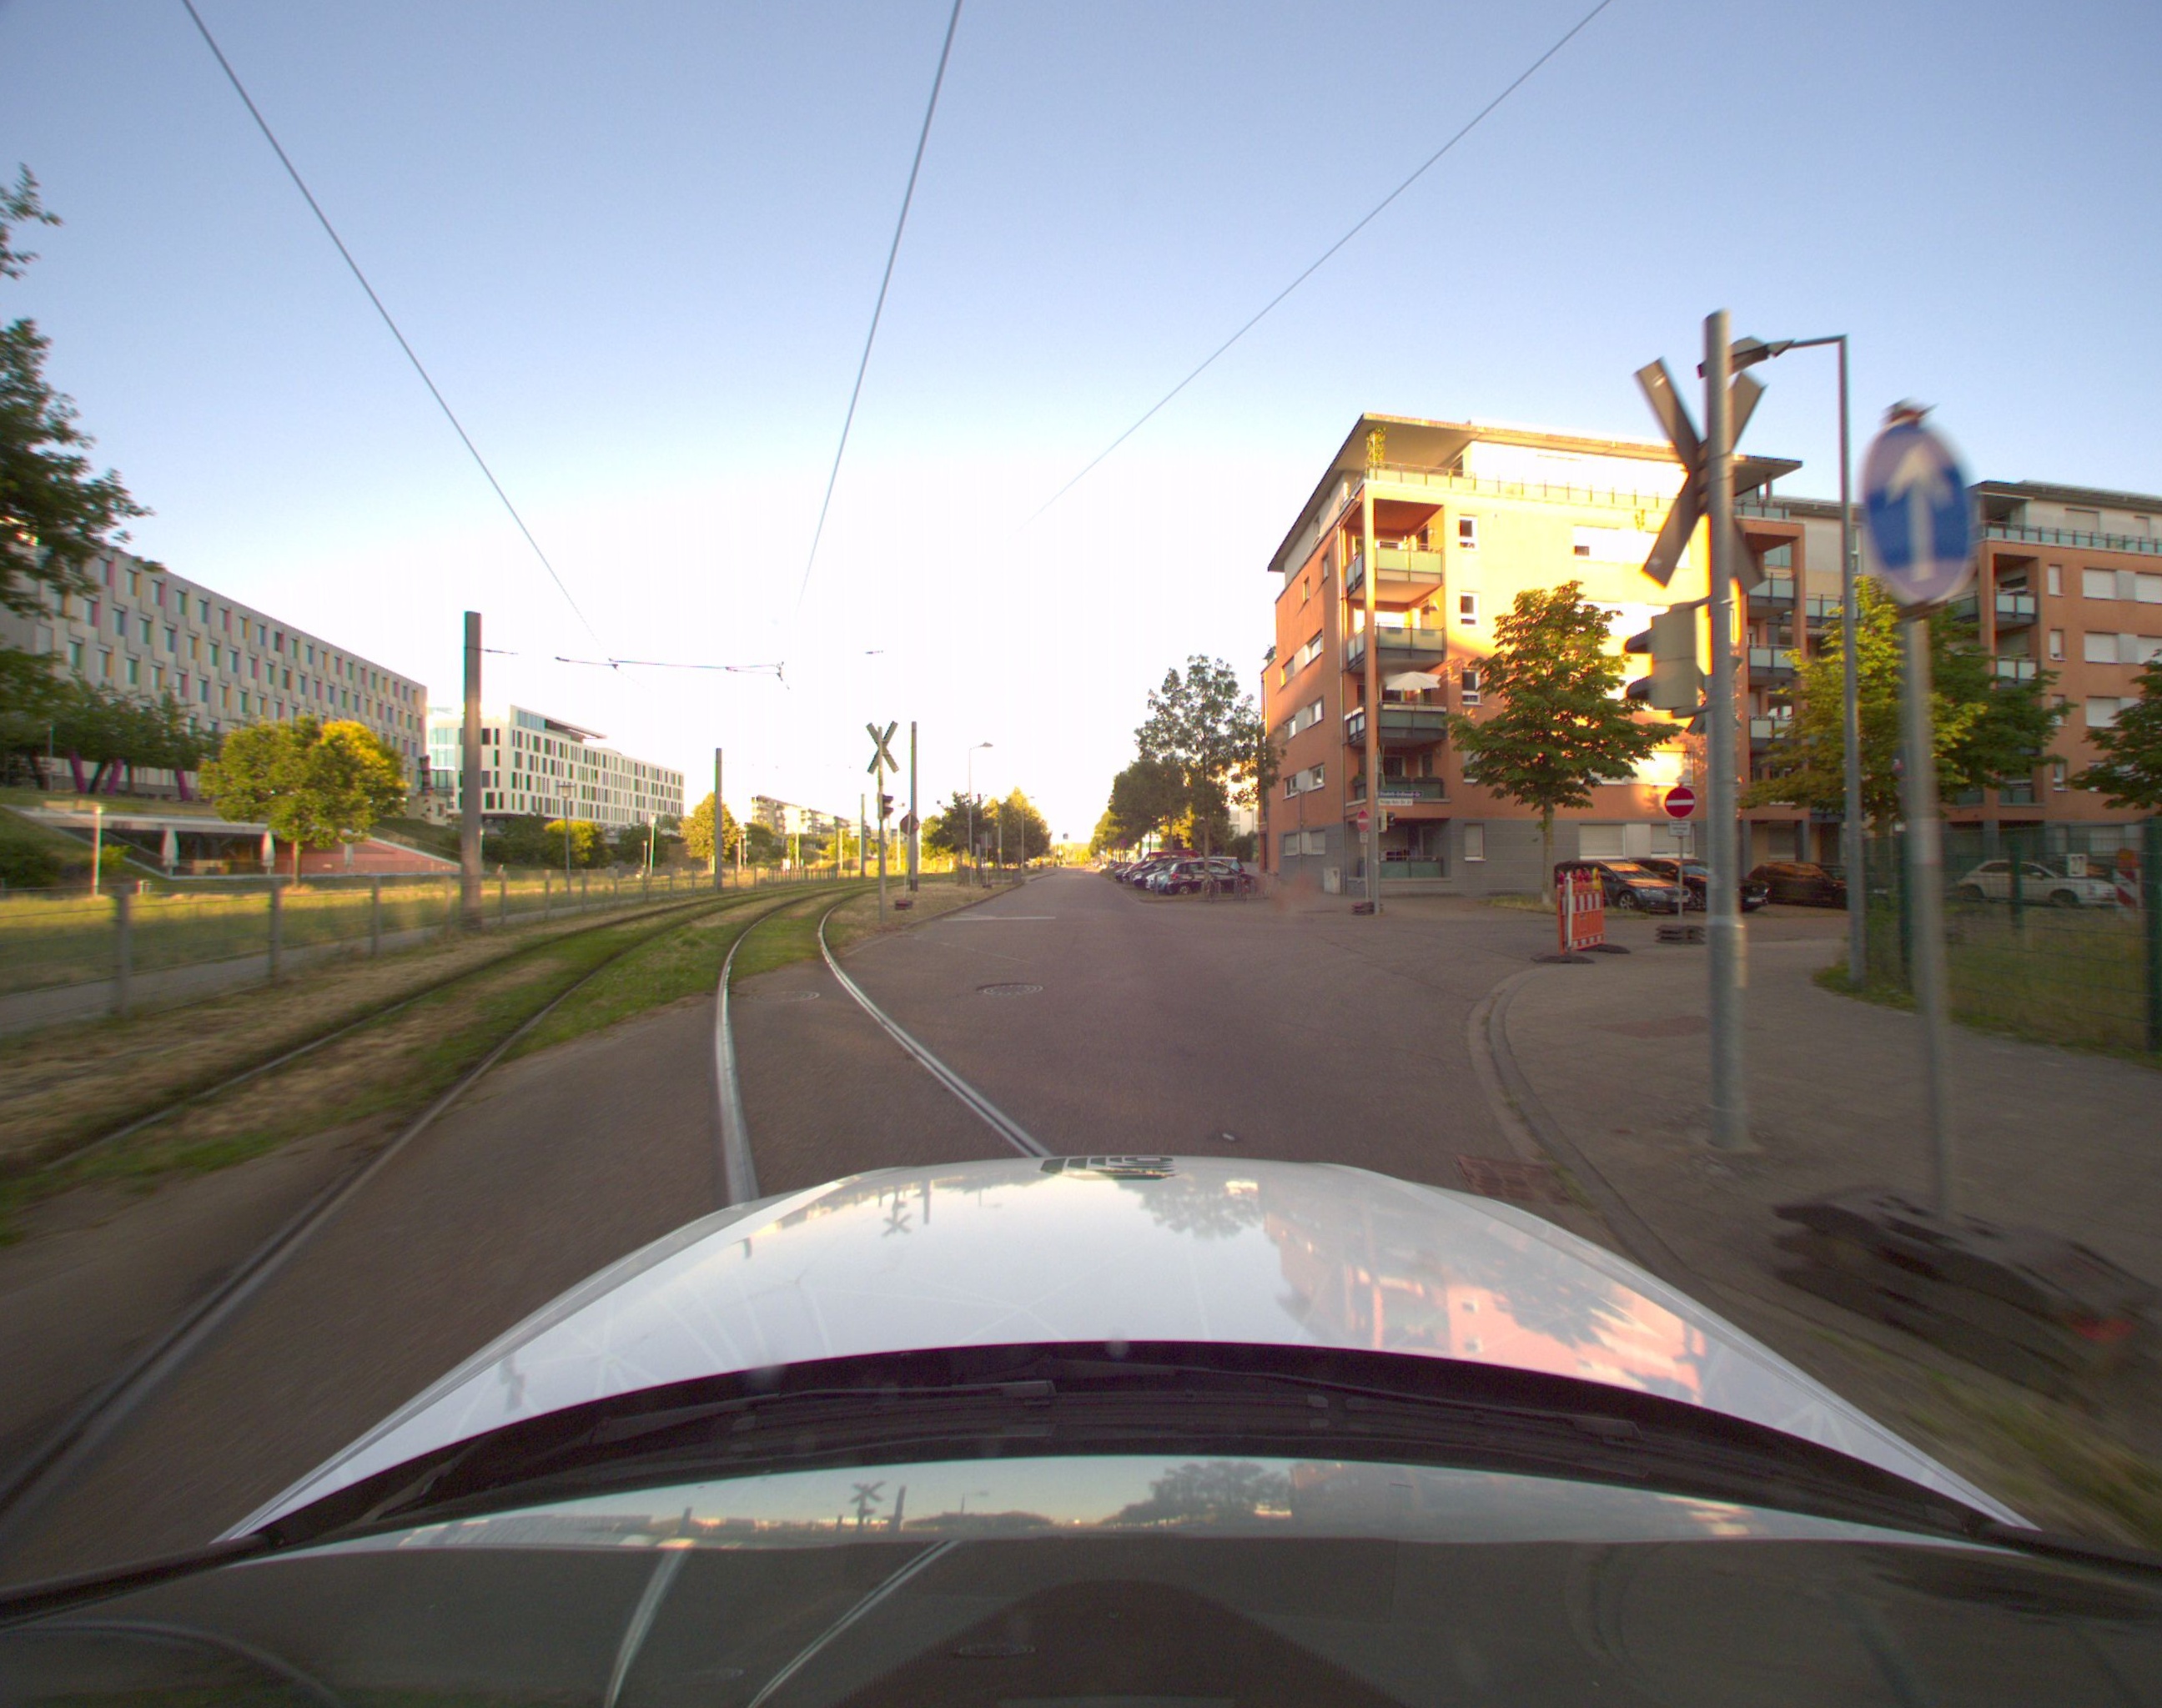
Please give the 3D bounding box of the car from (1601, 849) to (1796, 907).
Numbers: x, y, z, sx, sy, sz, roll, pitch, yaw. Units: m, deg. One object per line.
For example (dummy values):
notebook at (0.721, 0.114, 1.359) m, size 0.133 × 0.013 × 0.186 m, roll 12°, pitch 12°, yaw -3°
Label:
car at (18.895, 0.683, 25.281) m, size 1.993 × 1.594 × 4.800 m, roll 0°, pitch 0°, yaw -9°

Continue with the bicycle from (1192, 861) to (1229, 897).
bicycle at (4.601, 0.874, 29.056) m, size 0.717 × 1.152 × 1.892 m, roll -2°, pitch 2°, yaw -10°

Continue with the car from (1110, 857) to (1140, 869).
car at (5.758, 1.124, 107.547) m, size 3.793 × 1.508 × 1.677 m, roll -1°, pitch 0°, yaw -2°

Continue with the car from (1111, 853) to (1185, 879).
car at (4.367, 0.776, 53.519) m, size 4.655 × 1.556 × 1.810 m, roll -1°, pitch 0°, yaw -1°

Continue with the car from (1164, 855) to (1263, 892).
car at (5.411, 0.778, 33.451) m, size 3.743 × 1.473 × 1.610 m, roll -1°, pitch 0°, yaw -5°

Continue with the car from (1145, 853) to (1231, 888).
car at (5.044, 0.762, 38.612) m, size 3.864 × 1.569 × 1.620 m, roll -1°, pitch 0°, yaw 0°

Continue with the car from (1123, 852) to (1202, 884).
car at (4.533, 0.751, 45.745) m, size 4.202 × 1.569 × 1.792 m, roll -3°, pitch 0°, yaw 0°

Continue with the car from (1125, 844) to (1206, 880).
car at (5.245, 0.495, 51.106) m, size 4.902 × 2.117 × 2.017 m, roll -1°, pitch 0°, yaw 1°

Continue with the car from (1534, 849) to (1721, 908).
car at (16.200, 0.672, 24.522) m, size 1.993 × 1.594 × 4.800 m, roll 0°, pitch 0°, yaw -9°

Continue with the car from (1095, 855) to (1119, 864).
car at (4.993, 0.983, 155.166) m, size 4.469 × 1.596 × 2.000 m, roll -1°, pitch 0°, yaw 1°

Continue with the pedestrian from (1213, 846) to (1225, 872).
pedestrian at (9.086, 0.320, 53.585) m, size 0.666 × 1.743 × 0.699 m, roll -1°, pitch 0°, yaw -1°

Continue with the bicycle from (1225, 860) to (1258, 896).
bicycle at (5.680, 0.828, 28.875) m, size 0.677 × 1.152 × 1.926 m, roll -3°, pitch 1°, yaw -2°

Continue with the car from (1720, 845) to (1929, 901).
car at (23.758, 0.564, 26.331) m, size 1.993 × 1.594 × 4.800 m, roll -1°, pitch 0°, yaw -9°

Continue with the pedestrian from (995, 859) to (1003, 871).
pedestrian at (-12.483, 1.682, 124.579) m, size 1.023 × 1.693 × 0.754 m, roll 0°, pitch 0°, yaw -22°

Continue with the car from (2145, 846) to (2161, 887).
car at (43.095, 0.457, 29.730) m, size 1.995 × 1.594 × 4.796 m, roll -1°, pitch 0°, yaw -12°

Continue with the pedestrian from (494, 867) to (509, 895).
pedestrian at (-45.148, 2.103, 63.458) m, size 0.614 × 2.082 × 0.790 m, roll 1°, pitch -1°, yaw -1°

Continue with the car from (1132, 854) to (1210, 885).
car at (4.498, 0.793, 41.195) m, size 3.762 × 1.496 × 1.538 m, roll -1°, pitch -2°, yaw -1°

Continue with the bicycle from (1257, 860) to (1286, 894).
bicycle at (6.861, 0.801, 29.446) m, size 0.527 × 1.126 × 1.961 m, roll 1°, pitch 1°, yaw -2°

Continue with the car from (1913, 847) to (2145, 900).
car at (31.914, 0.597, 27.677) m, size 1.995 × 1.594 × 4.796 m, roll -1°, pitch 0°, yaw -12°

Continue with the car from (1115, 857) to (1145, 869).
car at (6.268, 1.130, 104.702) m, size 3.793 × 1.508 × 1.677 m, roll -1°, pitch 0°, yaw -2°

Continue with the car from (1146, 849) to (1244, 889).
car at (4.972, 0.634, 35.847) m, size 4.037 × 1.569 × 1.672 m, roll -2°, pitch 0°, yaw 0°
